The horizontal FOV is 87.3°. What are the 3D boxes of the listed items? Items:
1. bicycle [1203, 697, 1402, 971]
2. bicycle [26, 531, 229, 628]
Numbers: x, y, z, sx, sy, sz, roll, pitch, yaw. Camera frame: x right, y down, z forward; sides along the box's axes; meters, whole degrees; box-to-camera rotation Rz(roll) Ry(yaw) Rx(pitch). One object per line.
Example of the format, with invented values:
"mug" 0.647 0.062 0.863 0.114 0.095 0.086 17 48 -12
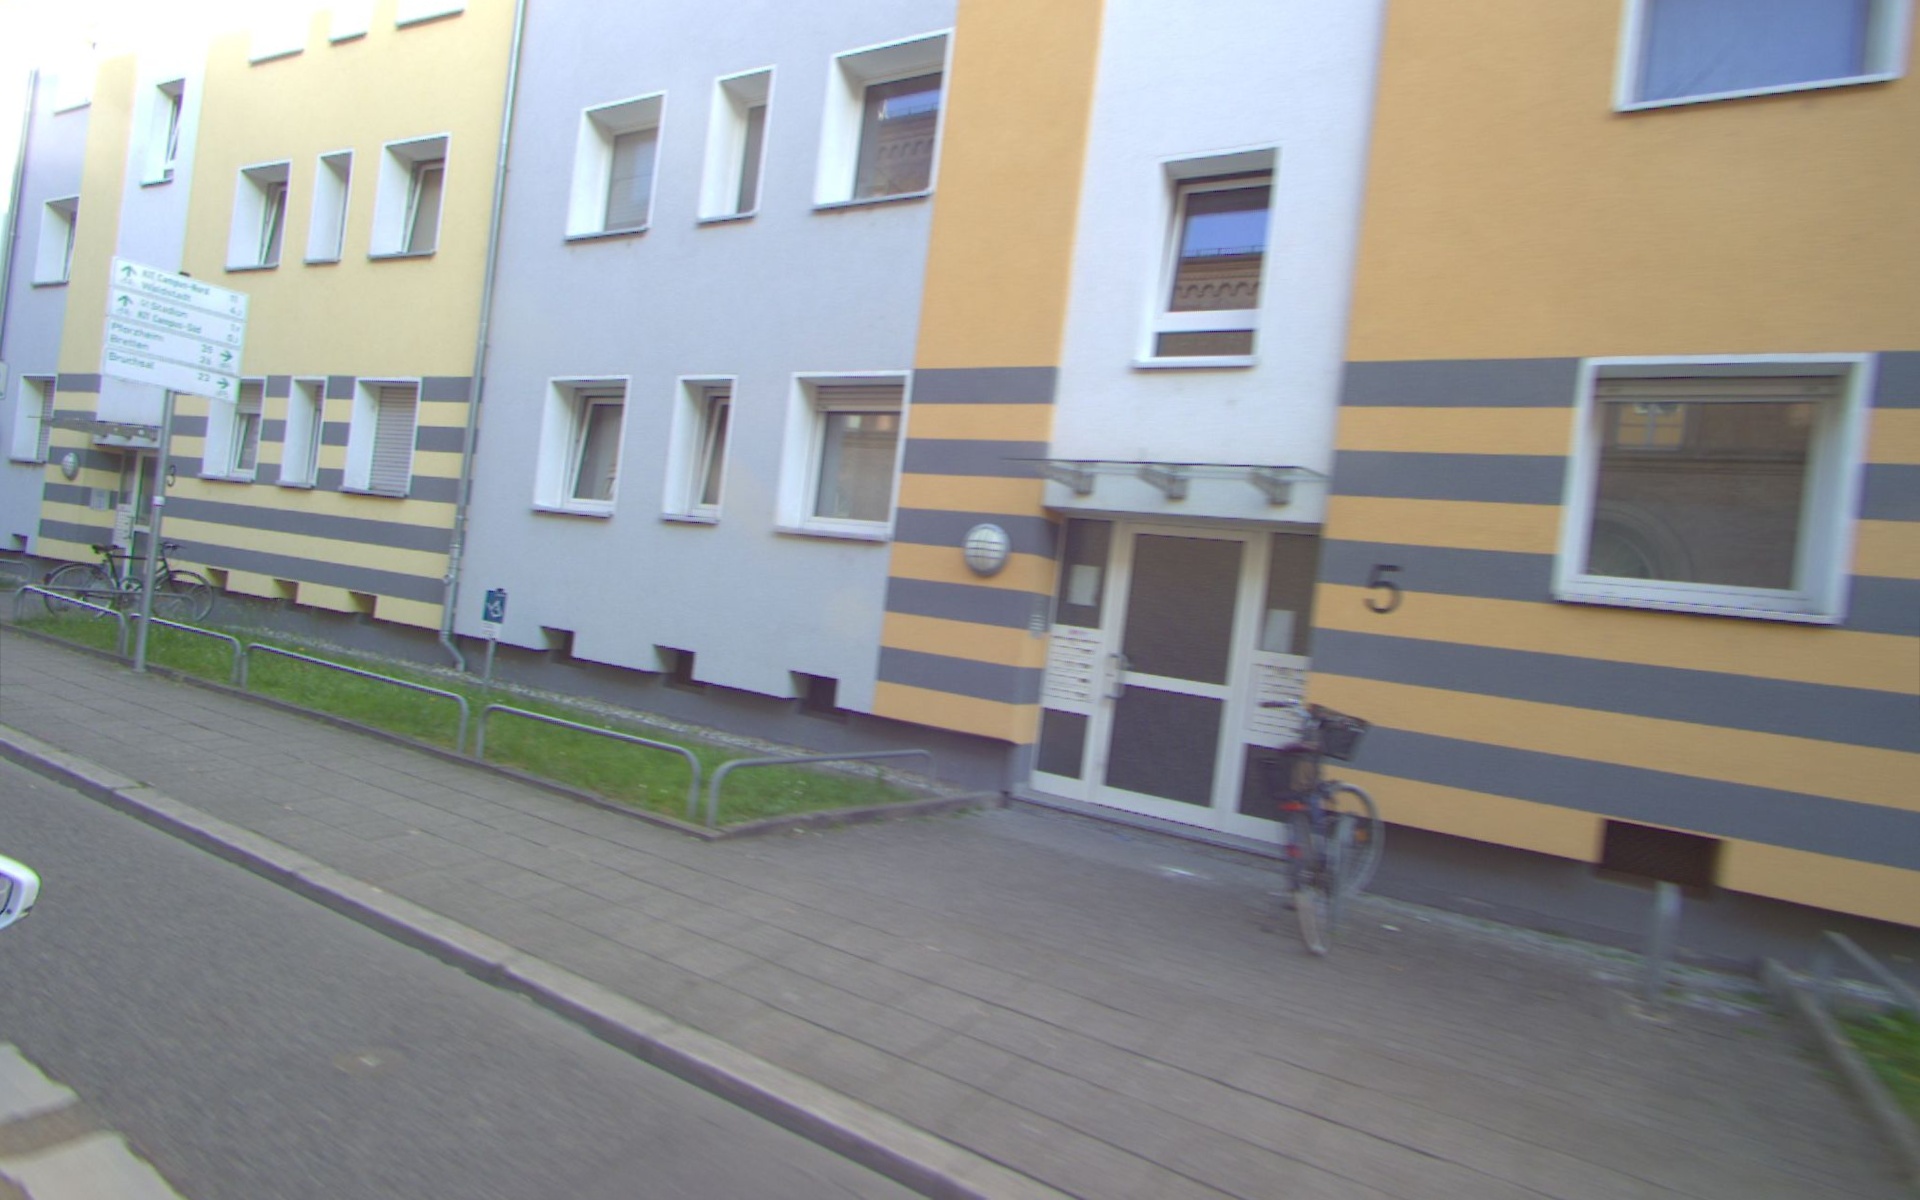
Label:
"bicycle" 1.910 1.138 5.423 0.543 1.151 1.813 6 -1 31
"bicycle" -10.103 -0.217 12.281 0.602 1.016 1.757 6 0 28
